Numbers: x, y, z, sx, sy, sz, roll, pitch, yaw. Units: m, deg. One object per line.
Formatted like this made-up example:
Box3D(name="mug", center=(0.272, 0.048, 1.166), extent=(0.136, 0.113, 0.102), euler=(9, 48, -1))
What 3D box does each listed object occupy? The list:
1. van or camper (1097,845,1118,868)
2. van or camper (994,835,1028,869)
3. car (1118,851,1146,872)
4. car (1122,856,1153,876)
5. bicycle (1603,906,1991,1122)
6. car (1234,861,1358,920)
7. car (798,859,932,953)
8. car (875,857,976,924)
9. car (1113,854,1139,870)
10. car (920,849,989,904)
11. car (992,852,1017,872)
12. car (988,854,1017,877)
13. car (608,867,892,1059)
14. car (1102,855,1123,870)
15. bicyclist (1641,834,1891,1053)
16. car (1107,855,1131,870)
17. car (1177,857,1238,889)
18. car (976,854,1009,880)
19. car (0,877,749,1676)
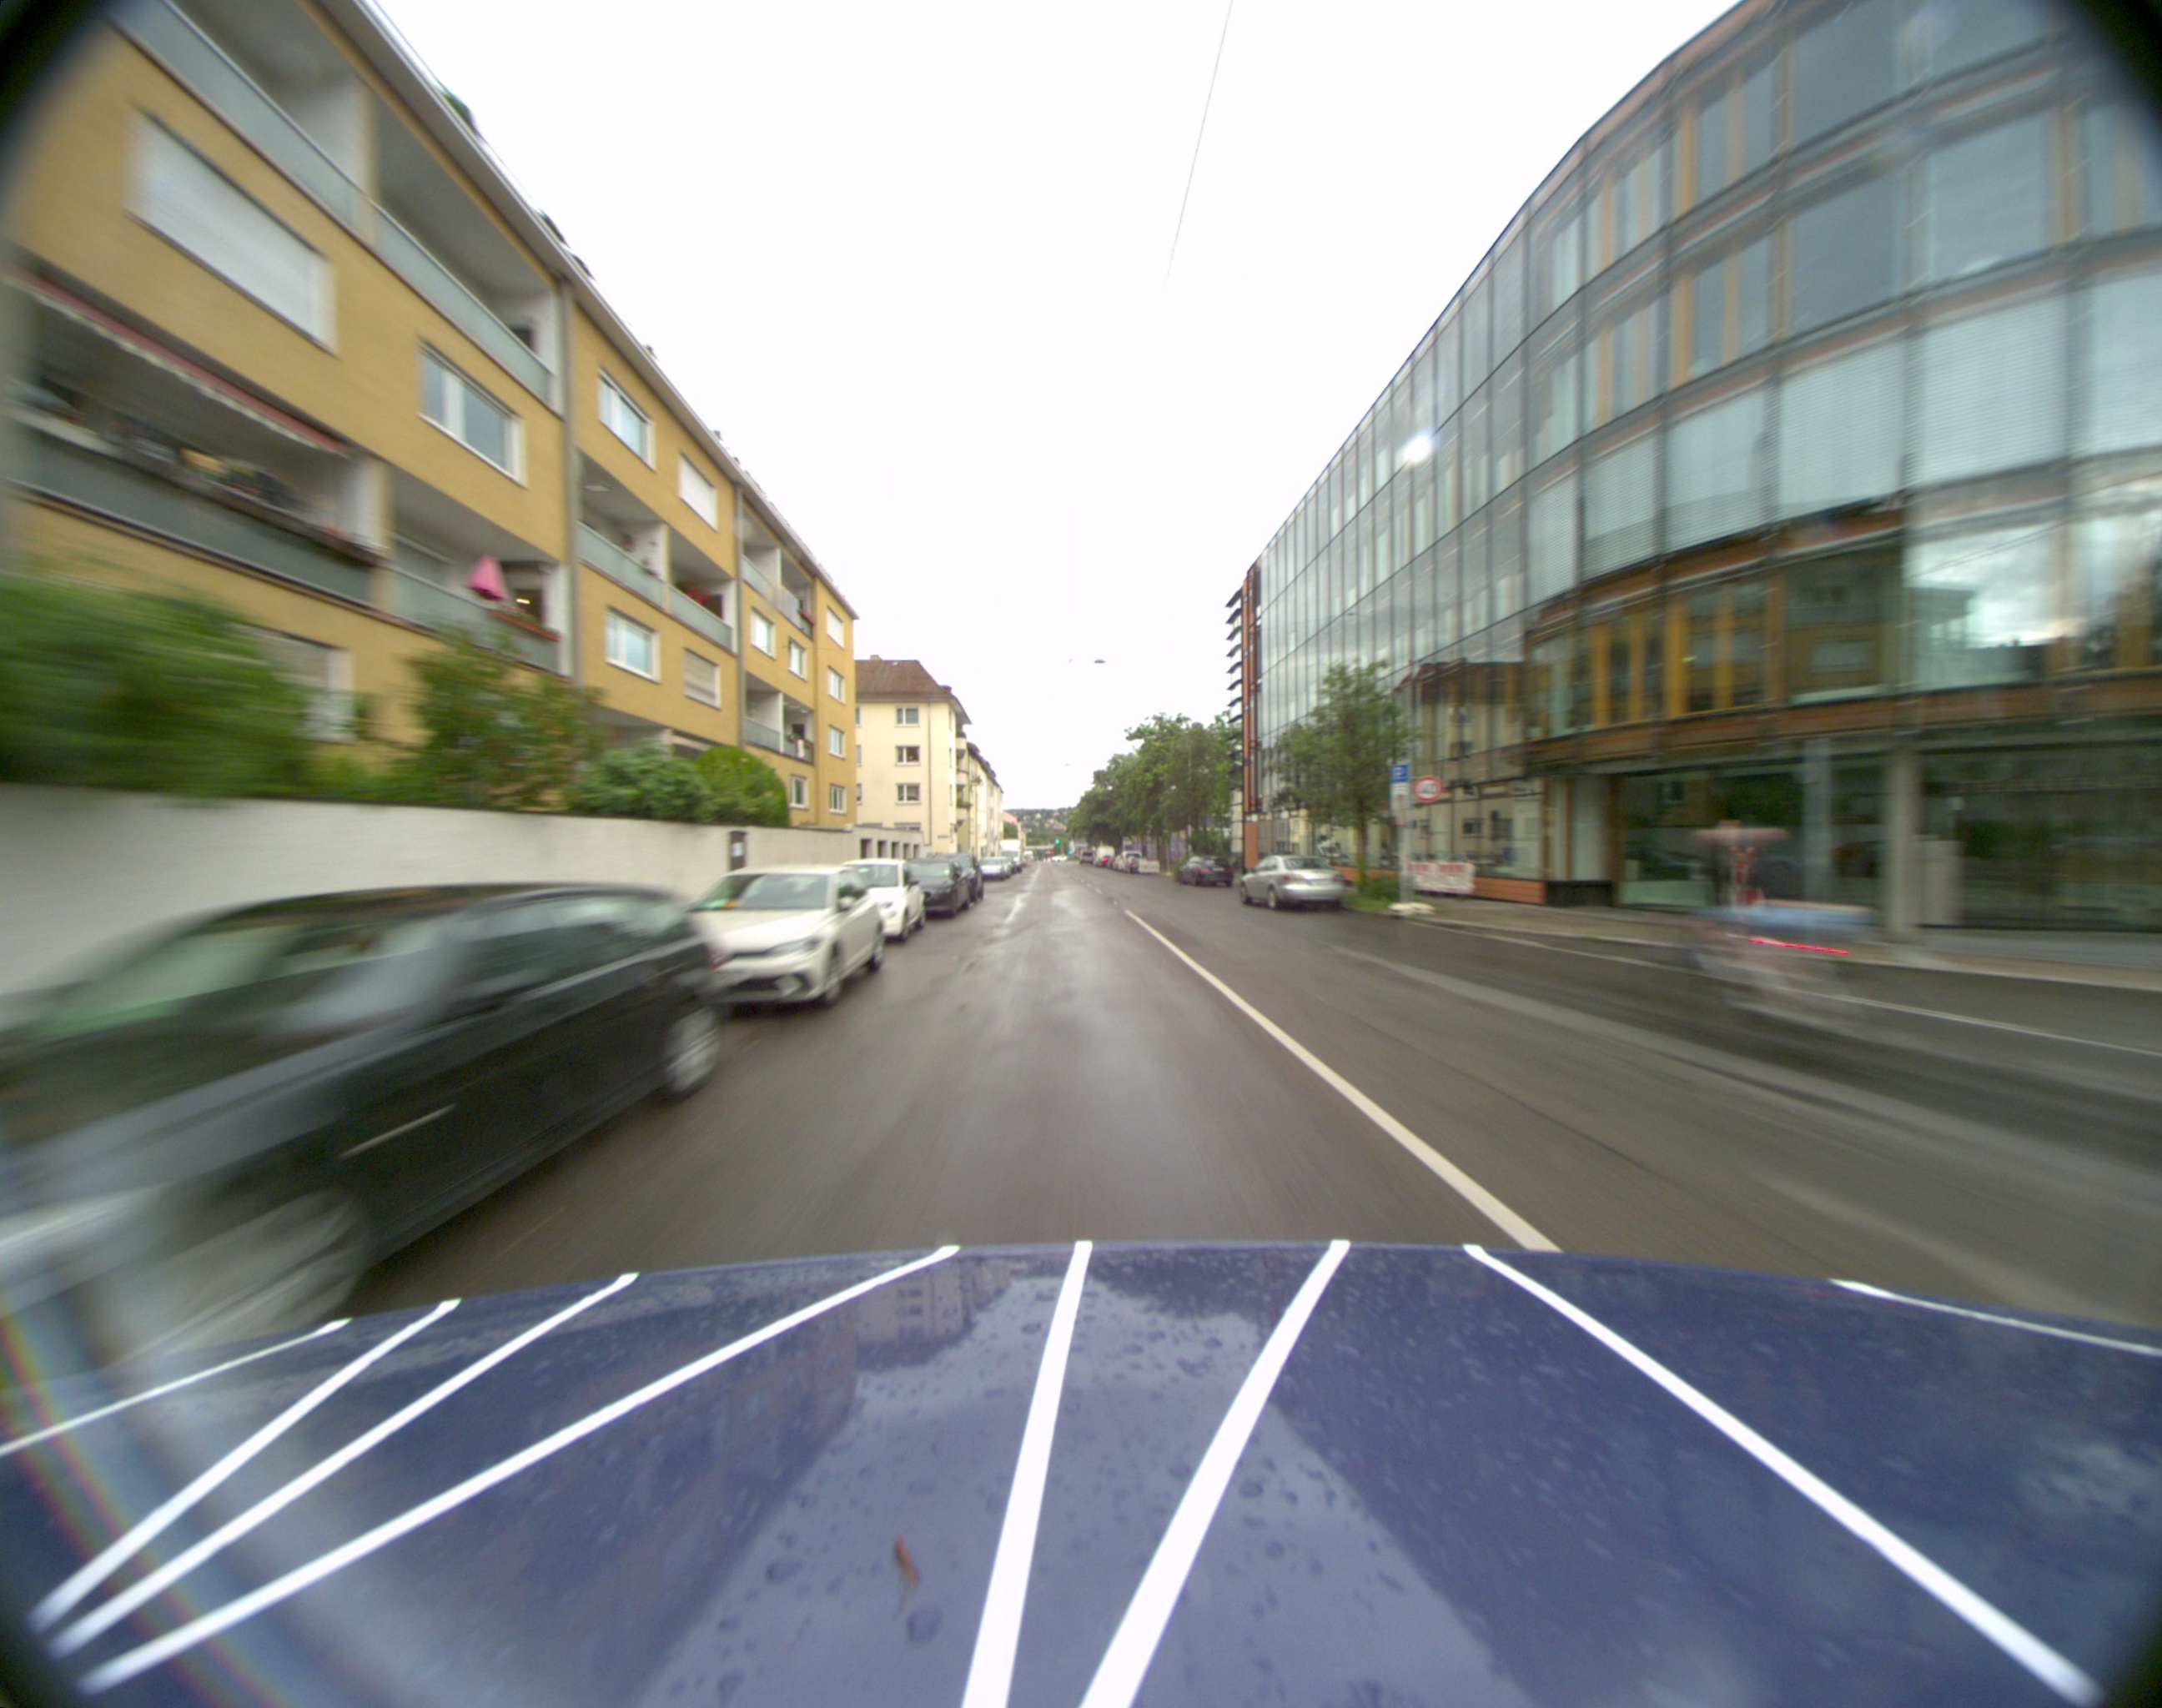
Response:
Box3D(name="van or camper", center=(3.170, 0.232, 92.217), extent=(2.144, 2.588, 5.548), euler=(-2, 1, -1))
Box3D(name="van or camper", center=(-6.539, -0.231, 71.953), extent=(2.754, 3.041, 7.027), euler=(-1, 1, -2))
Box3D(name="car", center=(4.375, 0.651, 65.813), extent=(1.881, 1.699, 3.997), euler=(-1, 1, -5))
Box3D(name="car", center=(4.459, 0.914, 60.538), extent=(1.881, 1.390, 3.997), euler=(-1, 1, -5))
Box3D(name="bicycle", center=(5.047, 1.038, 5.642), extent=(0.826, 1.141, 2.127), euler=(-1, 0, -2))
Box3D(name="car", center=(5.711, 0.906, 20.857), extent=(1.863, 1.386, 4.643), euler=(0, 0, -4))
Box3D(name="car", center=(-3.996, 0.895, 14.631), extent=(1.691, 1.445, 3.552), euler=(-2, 1, -3))
Box3D(name="car", center=(-3.948, 0.854, 19.990), extent=(1.916, 1.418, 4.449), euler=(-2, 1, -3))
Box3D(name="car", center=(4.152, 0.753, 70.593), extent=(1.881, 1.345, 3.827), euler=(-1, 1, -5))
Box3D(name="car", center=(-4.254, 0.697, 26.129), extent=(1.806, 1.637, 4.573), euler=(-1, 1, -3))
Box3D(name="car", center=(-5.940, 0.619, 59.459), extent=(1.741, 1.423, 3.503), euler=(-1, 1, -3))
Box3D(name="car", center=(-5.337, 0.780, 51.912), extent=(1.741, 1.370, 3.969), euler=(-1, 1, -3))
Box3D(name="car", center=(-3.365, 0.978, 8.641), extent=(1.652, 1.451, 4.099), euler=(-2, 1, -5))
Box3D(name="car", center=(3.529, 0.916, 86.232), extent=(1.999, 1.565, 3.998), euler=(-2, 1, -3))
Box3D(name="bicyclist", center=(5.026, 0.593, 5.679), extent=(0.826, 1.453, 1.139), euler=(-2, 2, -2))
Box3D(name="car", center=(3.809, 0.838, 76.981), extent=(1.881, 1.456, 3.516), euler=(-1, 1, -5))
Box3D(name="car", center=(5.952, 0.868, 36.255), extent=(1.728, 1.455, 4.328), euler=(0, 0, -7))
Box3D(name="car", center=(-5.326, 0.773, 46.251), extent=(1.741, 1.370, 3.836), euler=(-1, 1, -3))
Box3D(name="car", center=(-3.213, 0.961, 3.282), extent=(1.735, 1.451, 4.476), euler=(-2, 1, -3))
